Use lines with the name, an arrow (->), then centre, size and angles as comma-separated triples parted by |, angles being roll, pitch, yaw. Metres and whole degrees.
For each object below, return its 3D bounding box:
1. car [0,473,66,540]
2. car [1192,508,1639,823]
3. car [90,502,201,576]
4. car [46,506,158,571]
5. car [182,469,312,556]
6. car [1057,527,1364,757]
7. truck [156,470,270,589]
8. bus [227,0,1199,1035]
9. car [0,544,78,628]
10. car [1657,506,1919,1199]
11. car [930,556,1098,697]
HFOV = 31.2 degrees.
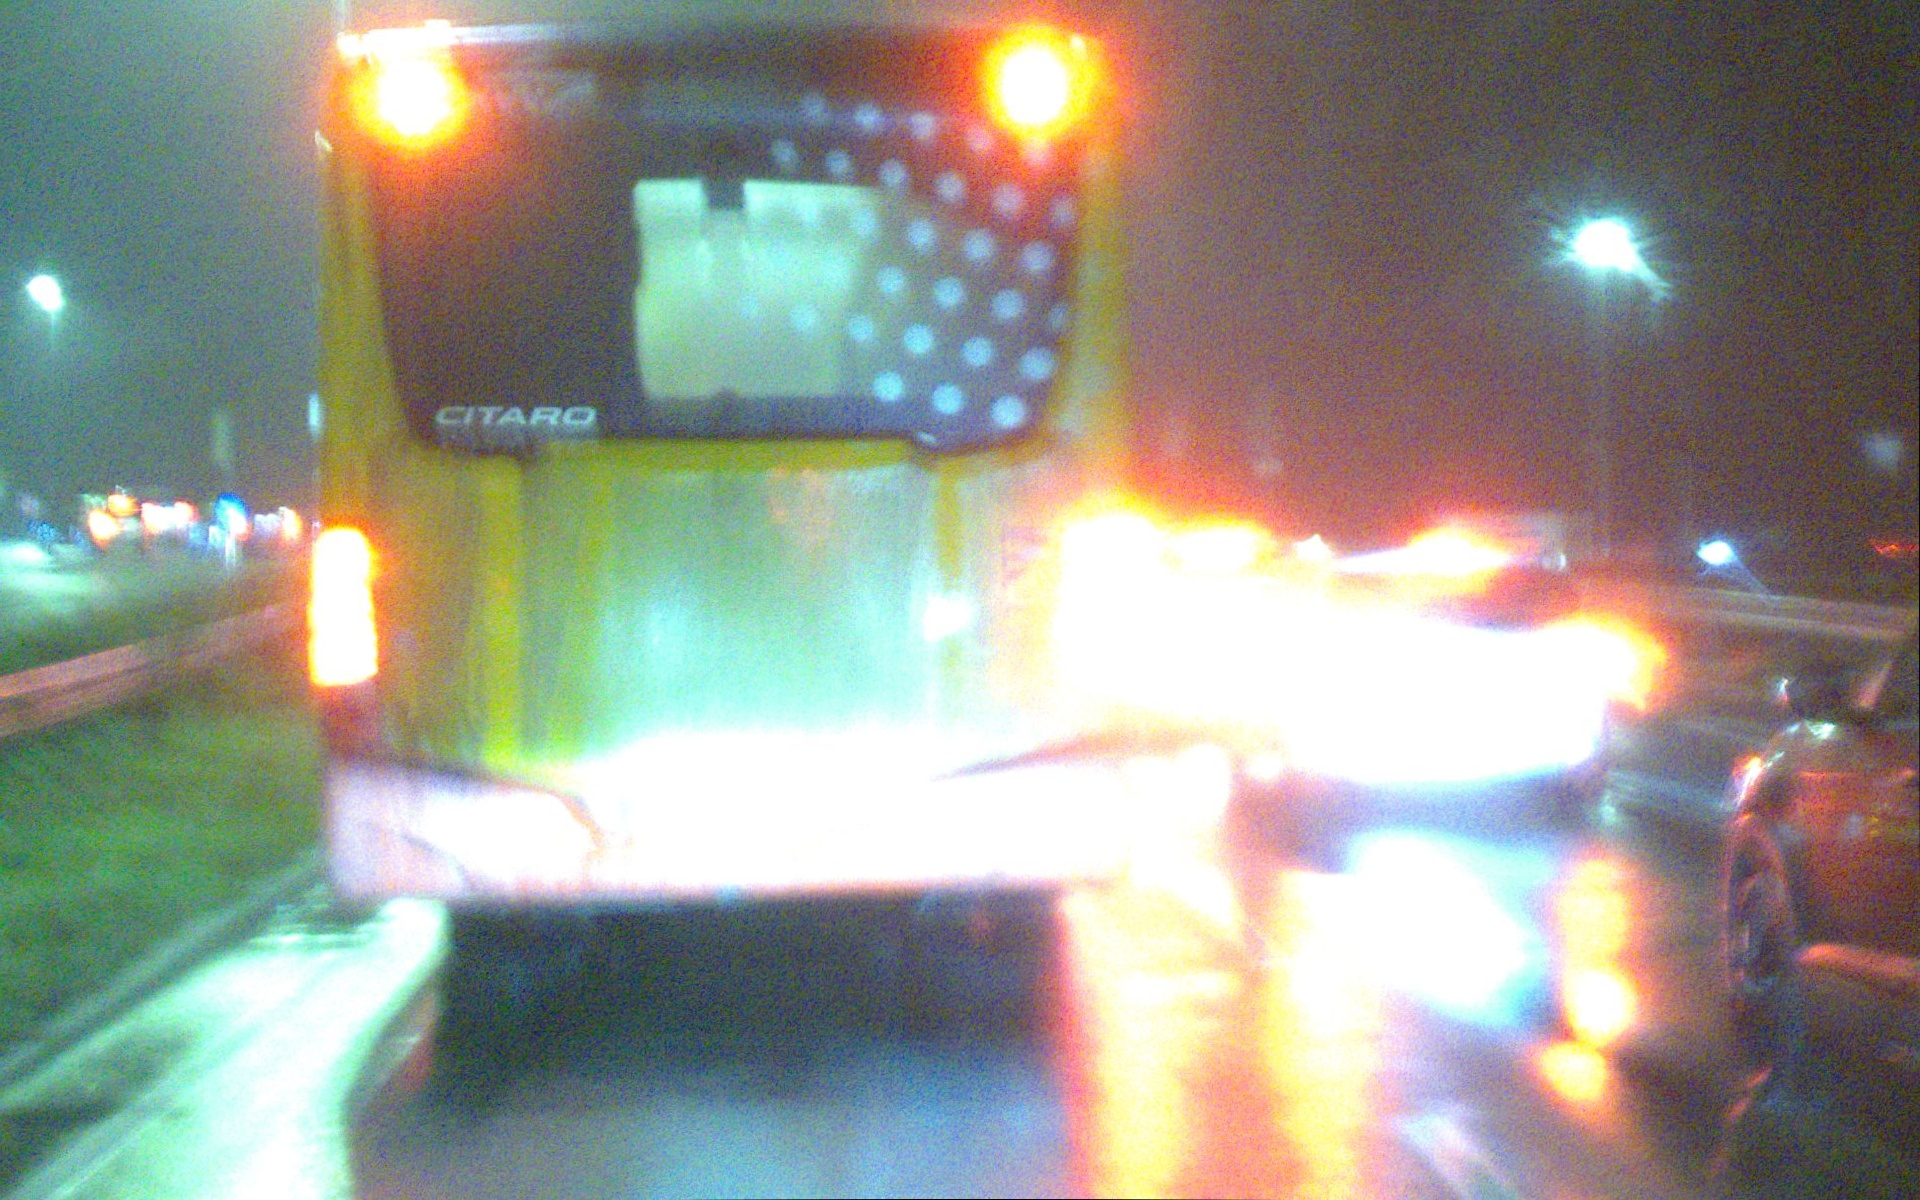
car -> -29.465, -2.945, 108.732 | 2.120, 2.007, 4.001 | 2, 0, -13
car -> 2.434, 0.297, 19.262 | 1.819, 1.585, 3.777 | 0, 1, -3
car -> -22.882, -1.712, 96.475 | 1.993, 2.007, 4.000 | 0, 1, -30
car -> -22.648, -1.629, 90.644 | 1.751, 1.625, 3.623 | 2, 0, -33
car -> -17.309, -2.108, 83.339 | 1.993, 2.007, 4.001 | 2, 0, -28
car -> 1.783, 0.258, 25.612 | 1.819, 1.585, 3.777 | 0, 1, -3
truck -> -16.655, -1.615, 76.539 | 1.855, 2.384, 4.781 | -1, 4, -19
bus -> -0.851, -0.312, 14.521 | 2.815, 3.013, 8.688 | 1, 1, -2
car -> -22.818, -0.358, 83.929 | 1.993, 2.007, 4.001 | 0, 1, -21
car -> 2.905, 0.596, 7.598 | 1.739, 1.559, 3.777 | 1, 1, -3
car -> 0.590, 0.275, 40.761 | 1.779, 1.538, 3.875 | 1, 1, -2
